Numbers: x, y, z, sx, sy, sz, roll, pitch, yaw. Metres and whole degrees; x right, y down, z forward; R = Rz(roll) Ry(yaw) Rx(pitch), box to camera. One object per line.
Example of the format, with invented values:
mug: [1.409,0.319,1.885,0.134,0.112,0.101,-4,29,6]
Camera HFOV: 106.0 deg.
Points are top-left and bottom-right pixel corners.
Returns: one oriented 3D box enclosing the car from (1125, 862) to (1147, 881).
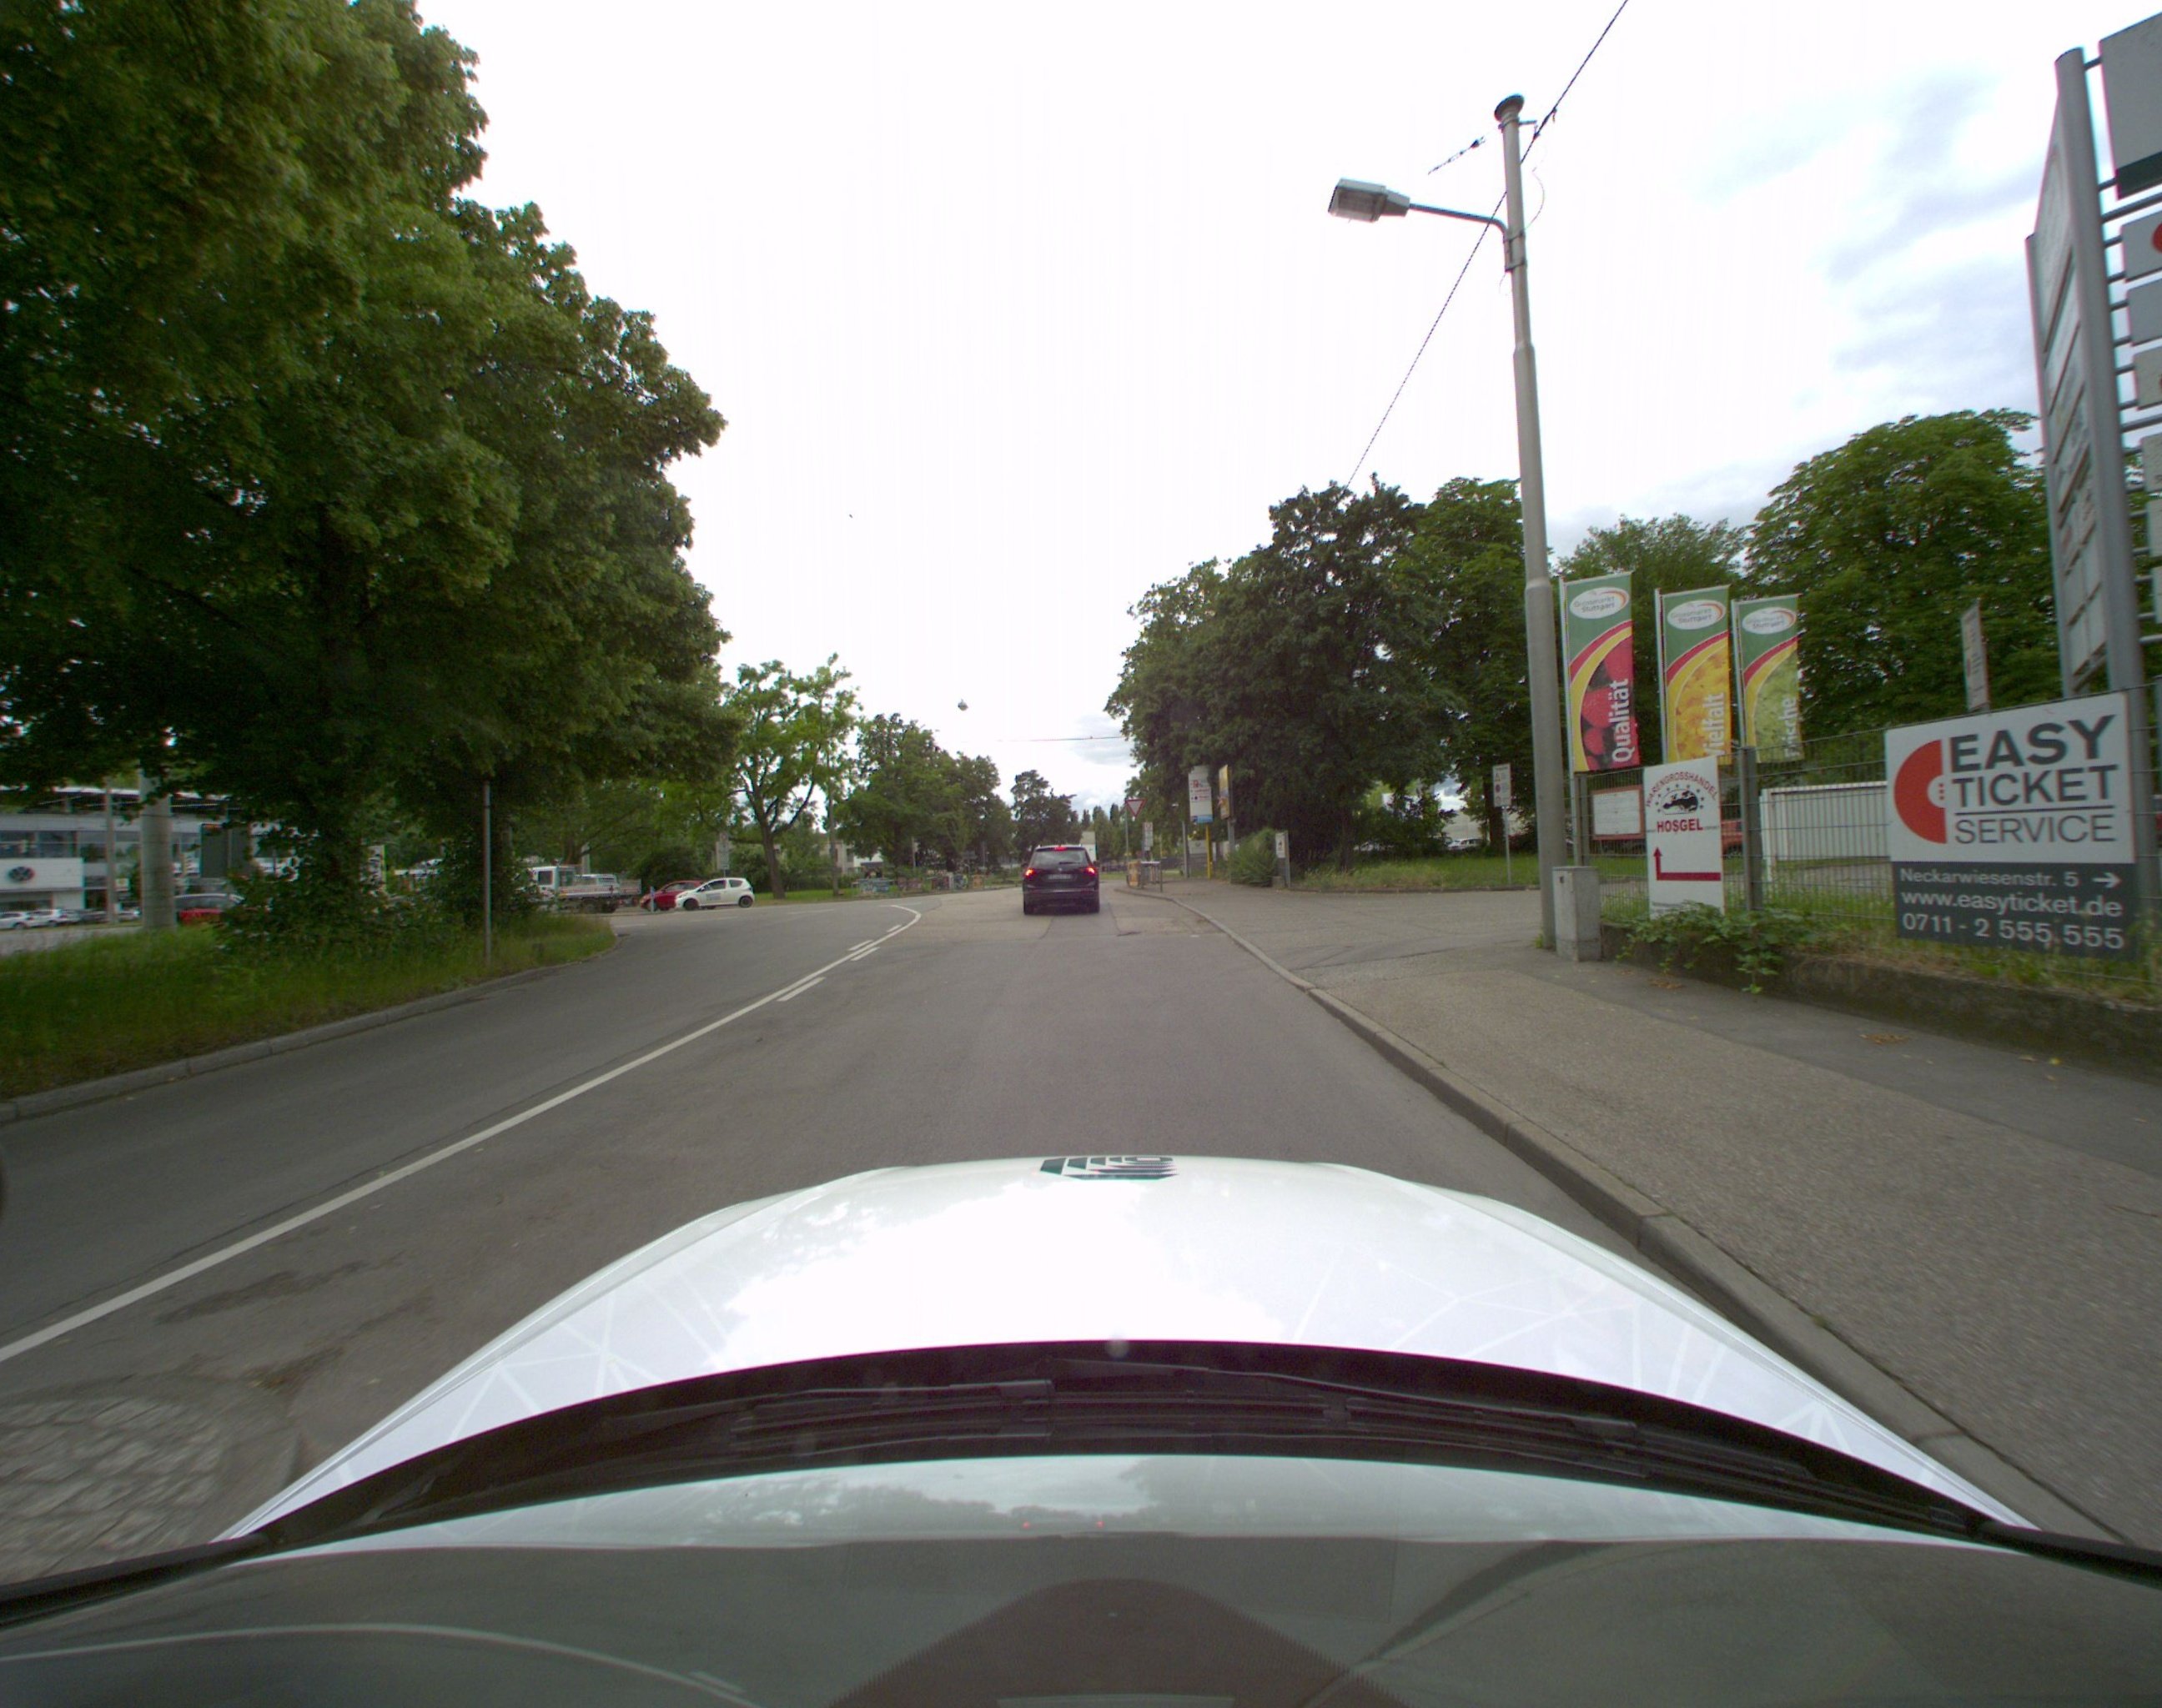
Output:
car: [5.345,1.670,78.678,1.649,1.574,3.838,-4,-1,9]

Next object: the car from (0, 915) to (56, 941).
car: [-79.048,5.528,59.607,4.509,1.692,1.984,-3,0,-24]

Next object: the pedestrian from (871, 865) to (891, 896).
pedestrian: [-11.689,1.544,47.641,0.734,1.742,0.732,-4,-1,41]

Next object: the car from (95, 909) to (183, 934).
car: [-81.975,5.875,70.947,4.509,1.692,1.984,-3,0,-24]

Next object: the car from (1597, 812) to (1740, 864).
car: [21.960,-0.588,30.579,3.926,1.647,1.833,-3,0,6]

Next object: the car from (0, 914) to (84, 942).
car: [-79.544,5.653,61.725,4.509,1.692,1.984,-3,0,-24]

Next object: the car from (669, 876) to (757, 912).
car: [-17.177,1.832,37.997,3.625,1.409,1.726,-3,0,-27]

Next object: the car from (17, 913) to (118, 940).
car: [-79.766,5.689,64.204,4.509,1.692,1.984,-3,0,-24]

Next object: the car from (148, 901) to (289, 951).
car: [-28.562,2.350,27.086,2.891,1.349,1.546,-3,0,-35]

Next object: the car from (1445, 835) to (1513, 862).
car: [28.641,-0.385,58.669,3.926,1.647,1.833,-3,0,6]

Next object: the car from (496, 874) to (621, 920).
car: [-26.059,2.145,40.704,4.953,1.942,2.052,-3,0,6]

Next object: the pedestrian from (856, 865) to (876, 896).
pedestrian: [-12.337,1.532,46.672,0.734,1.742,0.732,-4,-1,41]

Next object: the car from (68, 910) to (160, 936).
car: [-81.283,5.798,68.518,4.509,1.692,1.984,-3,0,-24]

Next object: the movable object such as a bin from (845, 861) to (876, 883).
movable object such as a bin: [-22.788,1.860,84.284,1.976,2.013,2.412,-3,0,22]

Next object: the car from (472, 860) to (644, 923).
car: [-23.795,1.664,37.313,6.062,2.387,2.390,-3,0,-6]

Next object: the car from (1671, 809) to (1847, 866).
car: [21.499,-0.510,25.958,3.926,1.534,1.833,-3,0,6]

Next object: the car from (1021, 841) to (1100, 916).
car: [-0.538,0.553,20.179,1.735,1.618,3.637,-2,0,-3]

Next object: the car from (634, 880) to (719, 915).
car: [-20.200,2.154,40.784,3.392,1.478,1.636,-3,0,-8]

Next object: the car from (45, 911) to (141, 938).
car: [-80.499,5.751,66.456,4.509,1.692,1.984,-3,0,-24]
